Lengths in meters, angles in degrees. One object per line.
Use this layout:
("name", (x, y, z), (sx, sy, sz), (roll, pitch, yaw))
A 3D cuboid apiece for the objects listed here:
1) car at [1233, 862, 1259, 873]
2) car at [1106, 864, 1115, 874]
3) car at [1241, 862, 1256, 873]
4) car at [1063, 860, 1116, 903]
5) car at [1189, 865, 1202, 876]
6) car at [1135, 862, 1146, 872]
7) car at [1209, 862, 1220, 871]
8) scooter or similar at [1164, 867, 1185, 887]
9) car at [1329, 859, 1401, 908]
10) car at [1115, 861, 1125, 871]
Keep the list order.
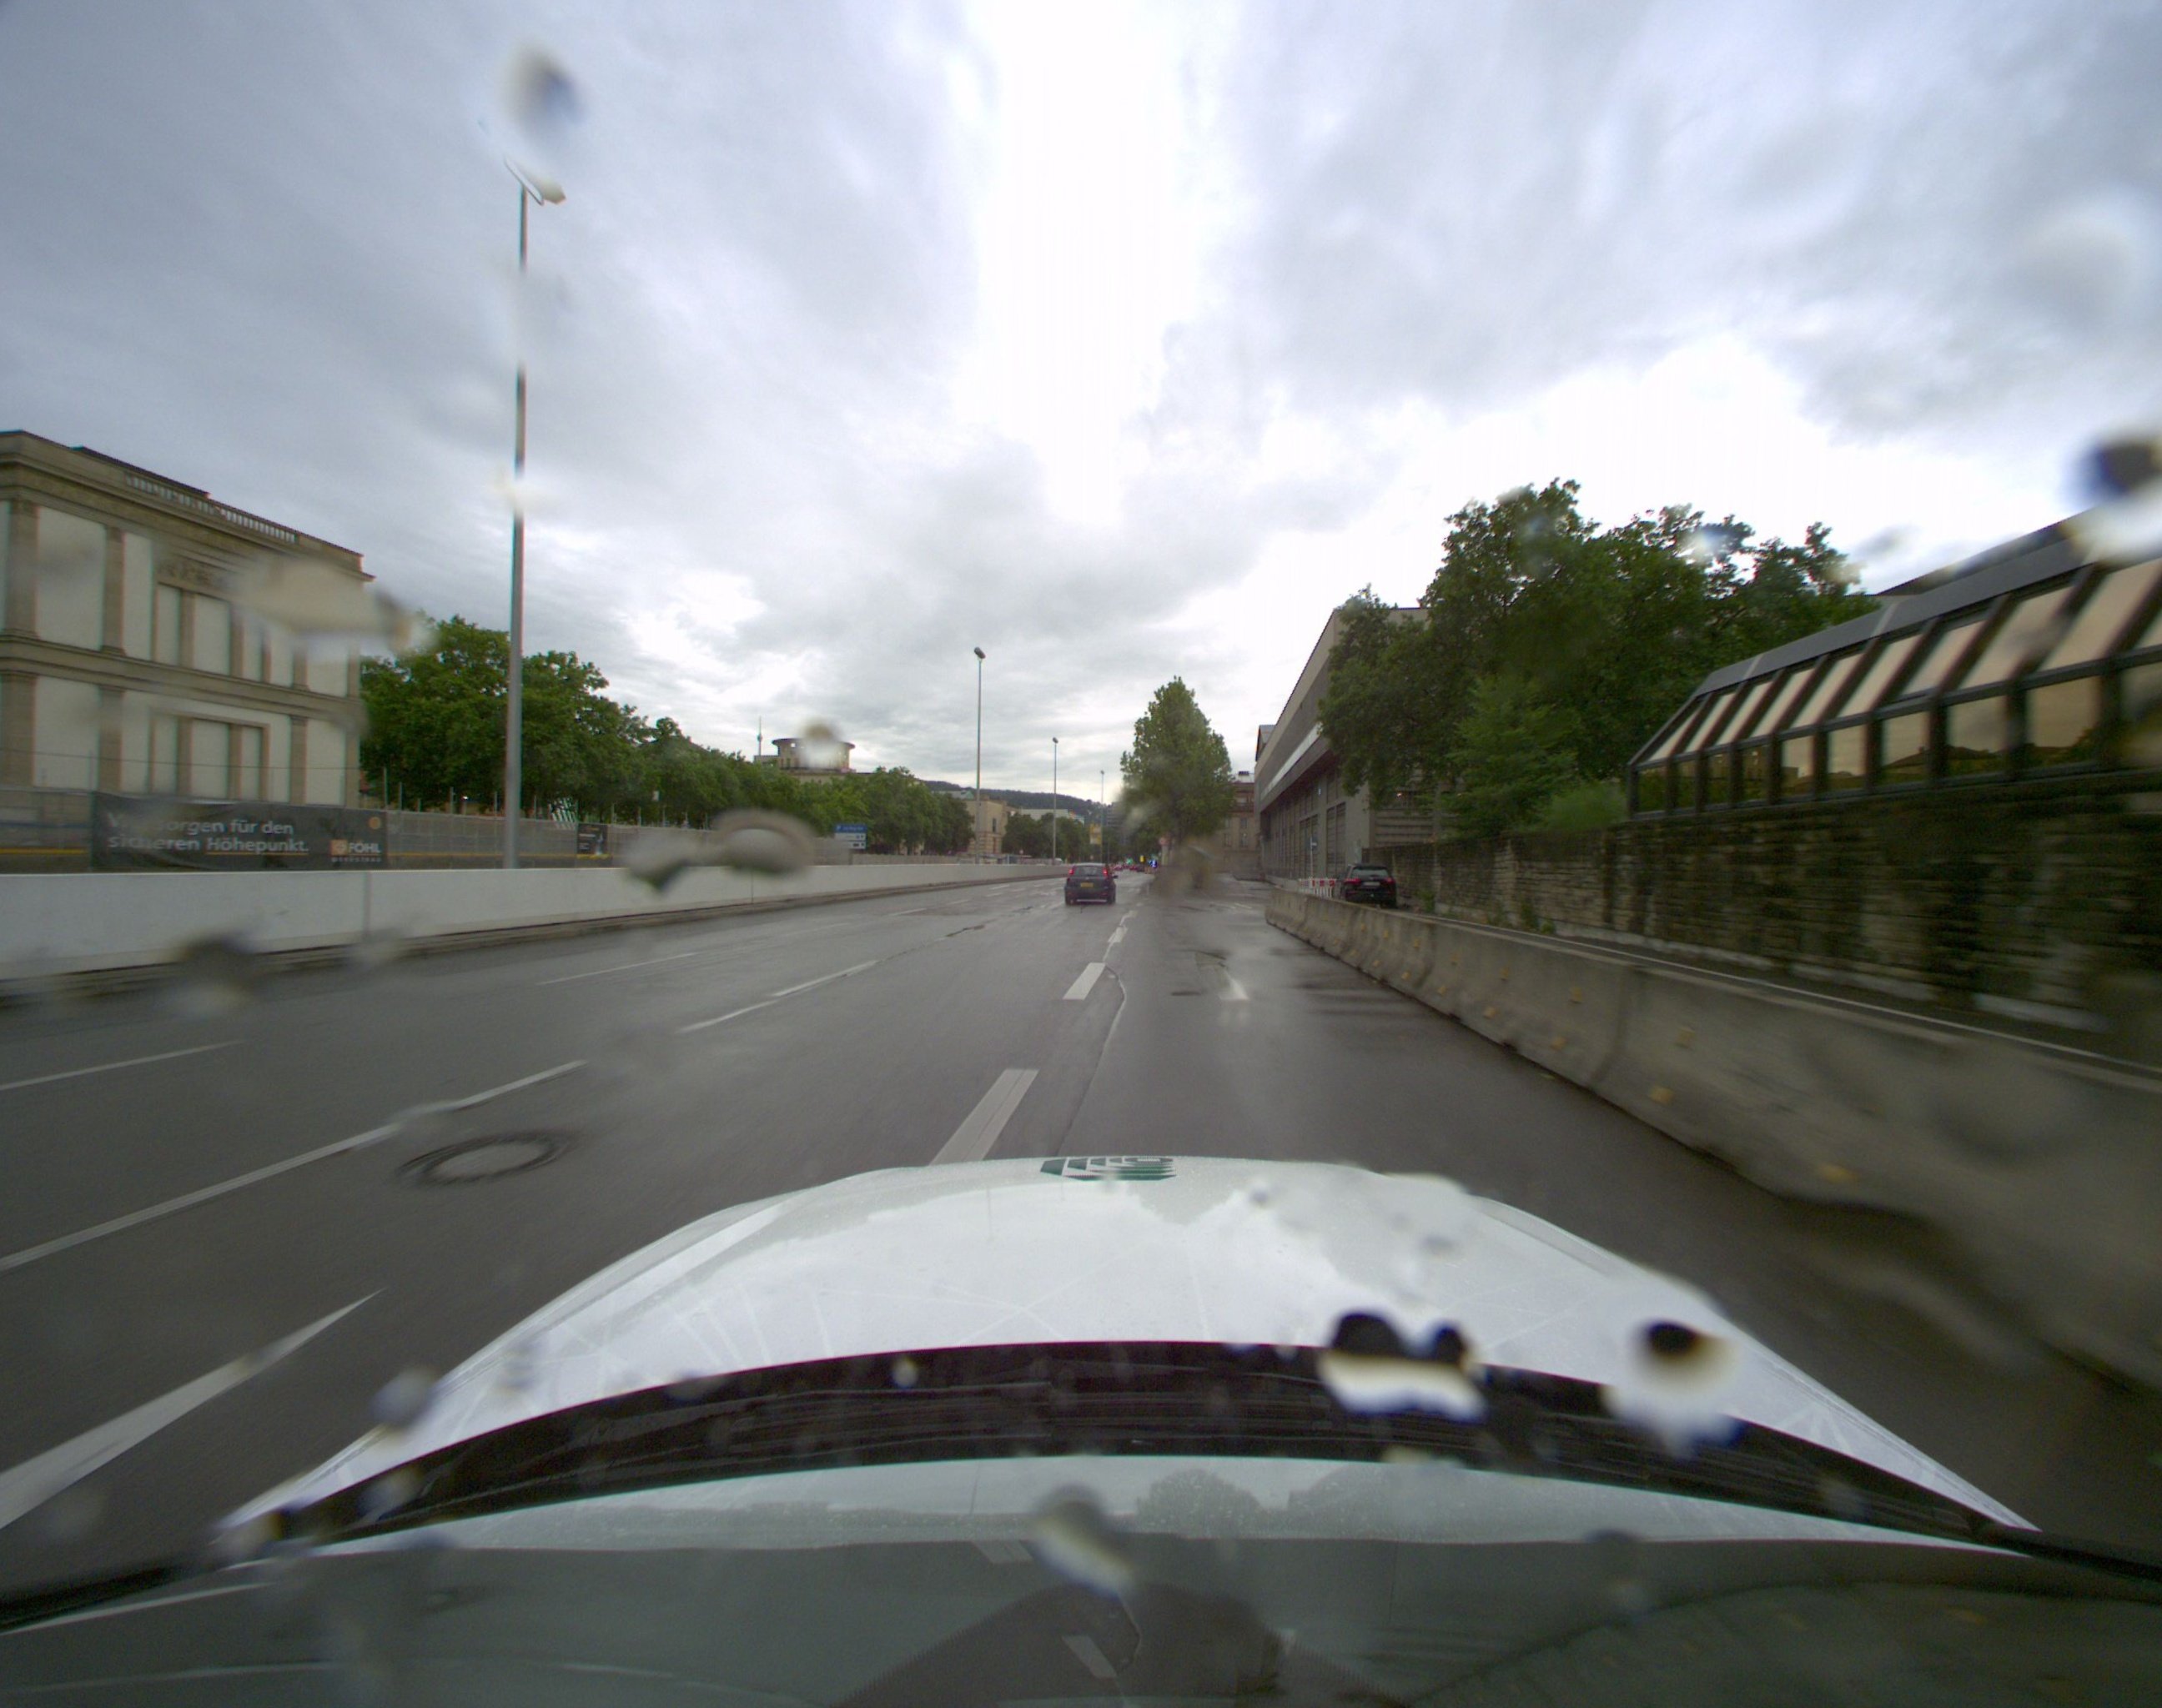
("car", (26.005, 2.137, 128.465), (3.966, 1.560, 1.936), (-1, -4, 7))
("car", (4.493, 2.320, 125.049), (1.380, 1.386, 3.068), (0, -1, 2))
("car", (28.040, 2.341, 136.249), (1.983, 1.760, 5.106), (0, -2, 7))
("car", (0.362, 0.940, 29.386), (1.662, 1.427, 3.762), (1, 0, 4))
("car", (20.259, 2.927, 143.770), (1.981, 1.708, 4.012), (2, 0, 11))
("car", (12.342, 2.683, 169.158), (1.983, 2.013, 4.007), (2, 0, 6))
("car", (27.066, 2.510, 164.621), (1.981, 1.709, 4.011), (2, -2, 11))
("scooter or similar", (6.374, 1.594, 55.226), (1.348, 1.286, 0.620), (3, -2, 7))
("car", (9.975, 0.984, 28.891), (1.793, 1.552, 4.339), (1, 0, 11))
("car", (8.887, 2.812, 185.349), (1.986, 2.014, 4.001), (3, -2, 2))
